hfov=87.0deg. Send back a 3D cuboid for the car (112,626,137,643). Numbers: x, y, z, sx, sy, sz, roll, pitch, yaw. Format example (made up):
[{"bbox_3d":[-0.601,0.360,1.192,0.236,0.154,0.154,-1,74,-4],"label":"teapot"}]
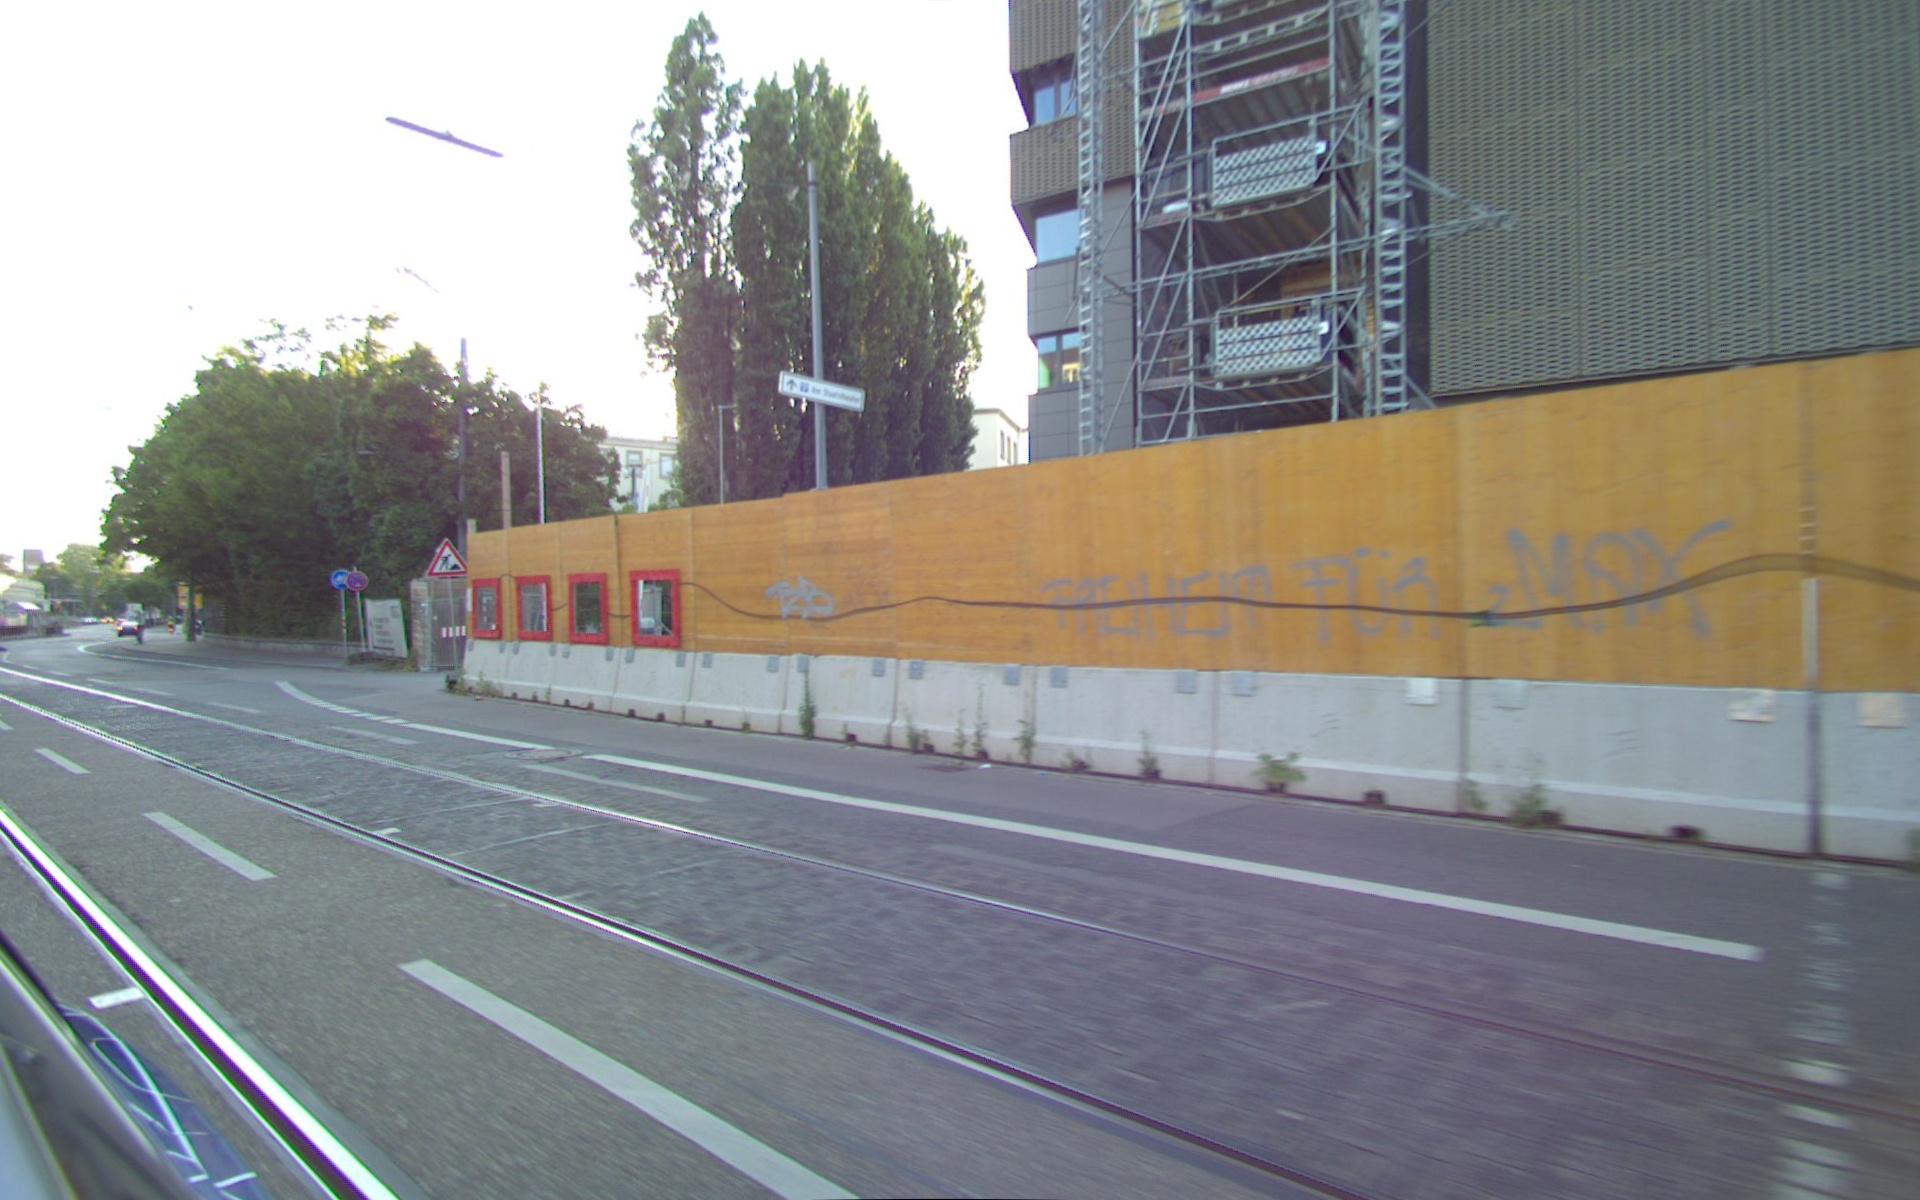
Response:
[{"bbox_3d":[-86.343,3.524,104.644,1.968,1.697,4.007,0,-2,-39],"label":"car"}]
